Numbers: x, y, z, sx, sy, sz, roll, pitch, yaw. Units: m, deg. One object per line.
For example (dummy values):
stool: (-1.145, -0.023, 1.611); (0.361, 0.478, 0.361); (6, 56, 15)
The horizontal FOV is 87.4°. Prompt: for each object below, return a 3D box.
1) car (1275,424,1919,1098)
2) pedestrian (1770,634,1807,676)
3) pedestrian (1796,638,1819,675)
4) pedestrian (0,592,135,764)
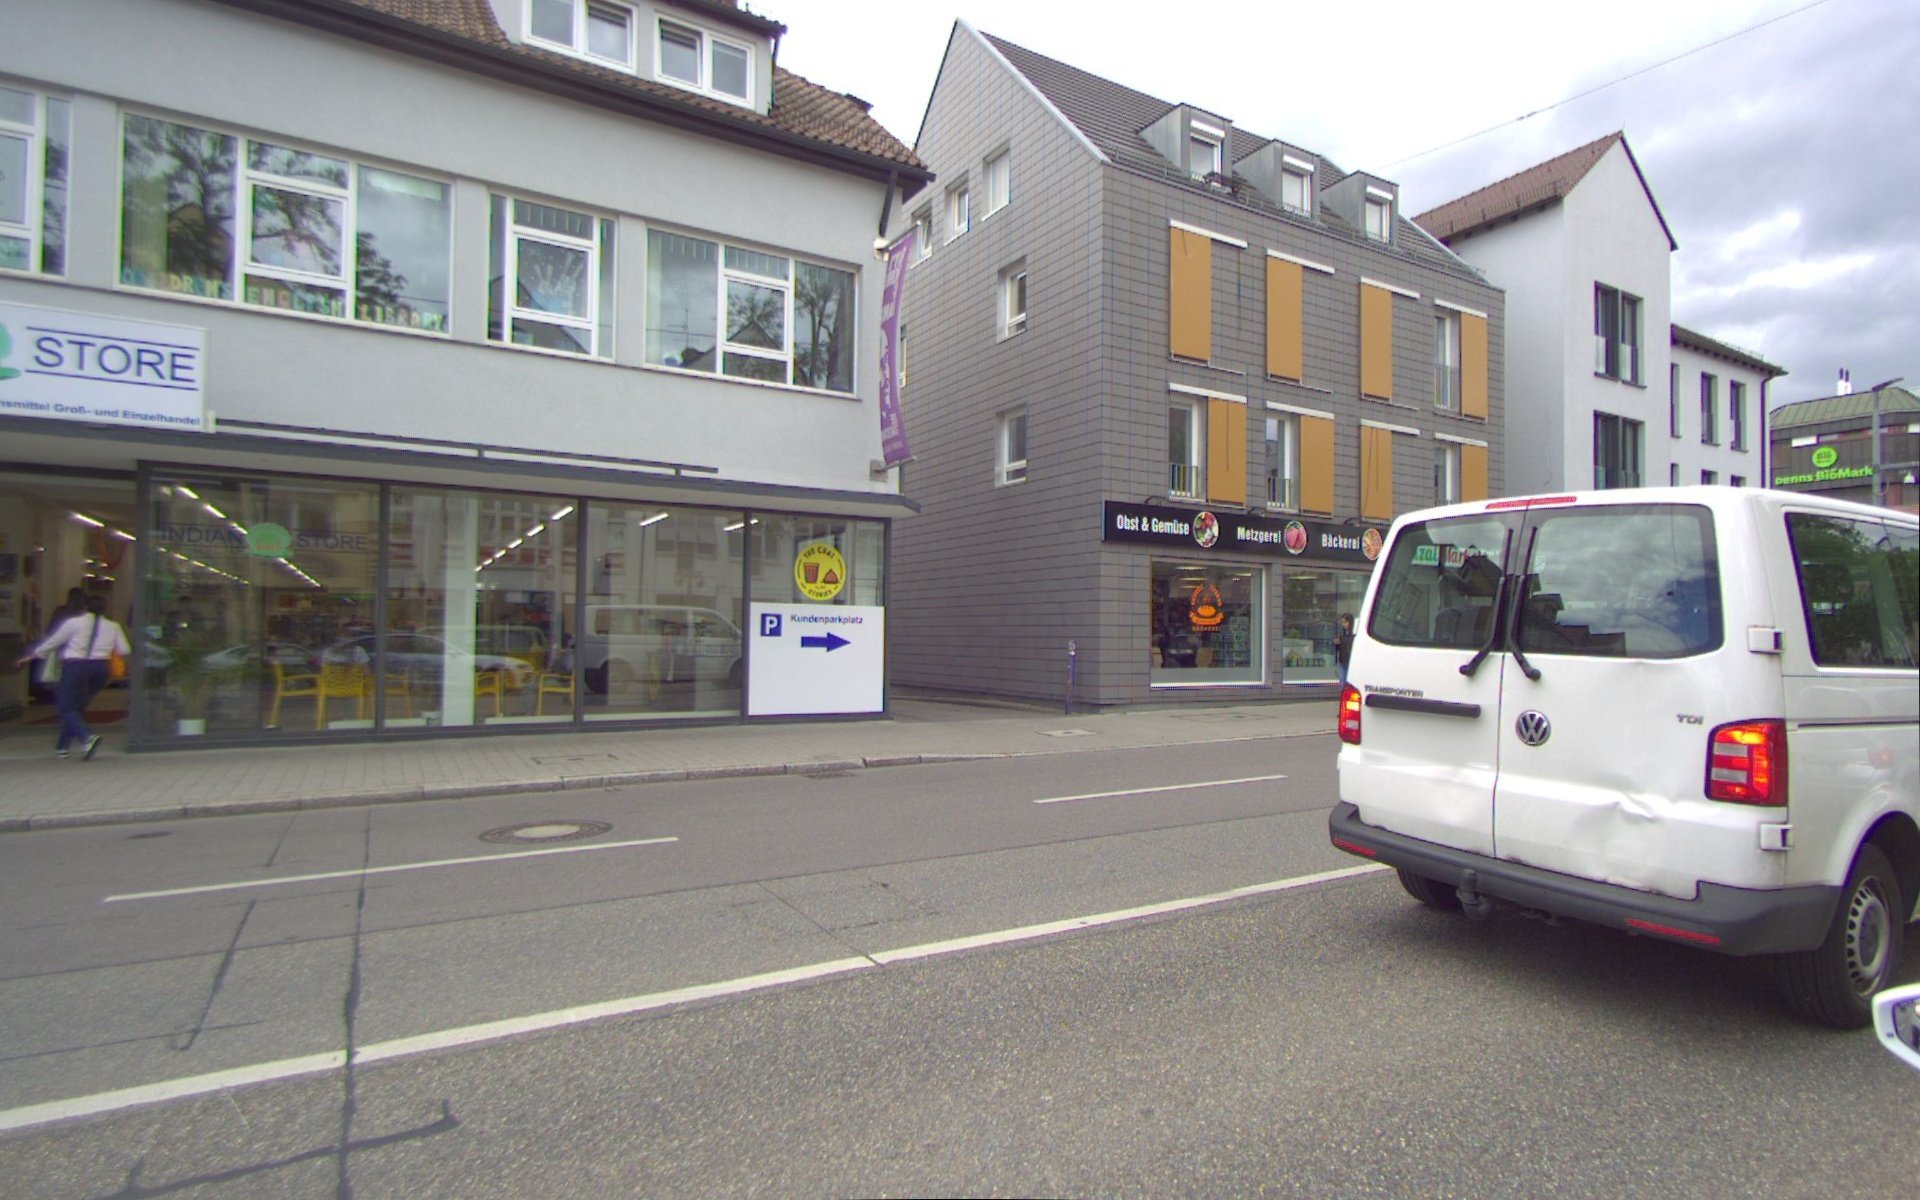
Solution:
car: (4.060, 0.524, 5.122); (4.783, 2.040, 1.984); (1, 0, -30)
pedestrian: (35.466, 2.351, 43.004); (0.933, 1.778, 0.944); (1, -1, -28)
pedestrian: (37.430, 2.487, 44.348); (0.519, 1.609, 0.636); (1, -1, -28)
pedestrian: (-8.809, 0.742, 9.912); (0.713, 1.601, 0.846); (-1, -1, 34)
